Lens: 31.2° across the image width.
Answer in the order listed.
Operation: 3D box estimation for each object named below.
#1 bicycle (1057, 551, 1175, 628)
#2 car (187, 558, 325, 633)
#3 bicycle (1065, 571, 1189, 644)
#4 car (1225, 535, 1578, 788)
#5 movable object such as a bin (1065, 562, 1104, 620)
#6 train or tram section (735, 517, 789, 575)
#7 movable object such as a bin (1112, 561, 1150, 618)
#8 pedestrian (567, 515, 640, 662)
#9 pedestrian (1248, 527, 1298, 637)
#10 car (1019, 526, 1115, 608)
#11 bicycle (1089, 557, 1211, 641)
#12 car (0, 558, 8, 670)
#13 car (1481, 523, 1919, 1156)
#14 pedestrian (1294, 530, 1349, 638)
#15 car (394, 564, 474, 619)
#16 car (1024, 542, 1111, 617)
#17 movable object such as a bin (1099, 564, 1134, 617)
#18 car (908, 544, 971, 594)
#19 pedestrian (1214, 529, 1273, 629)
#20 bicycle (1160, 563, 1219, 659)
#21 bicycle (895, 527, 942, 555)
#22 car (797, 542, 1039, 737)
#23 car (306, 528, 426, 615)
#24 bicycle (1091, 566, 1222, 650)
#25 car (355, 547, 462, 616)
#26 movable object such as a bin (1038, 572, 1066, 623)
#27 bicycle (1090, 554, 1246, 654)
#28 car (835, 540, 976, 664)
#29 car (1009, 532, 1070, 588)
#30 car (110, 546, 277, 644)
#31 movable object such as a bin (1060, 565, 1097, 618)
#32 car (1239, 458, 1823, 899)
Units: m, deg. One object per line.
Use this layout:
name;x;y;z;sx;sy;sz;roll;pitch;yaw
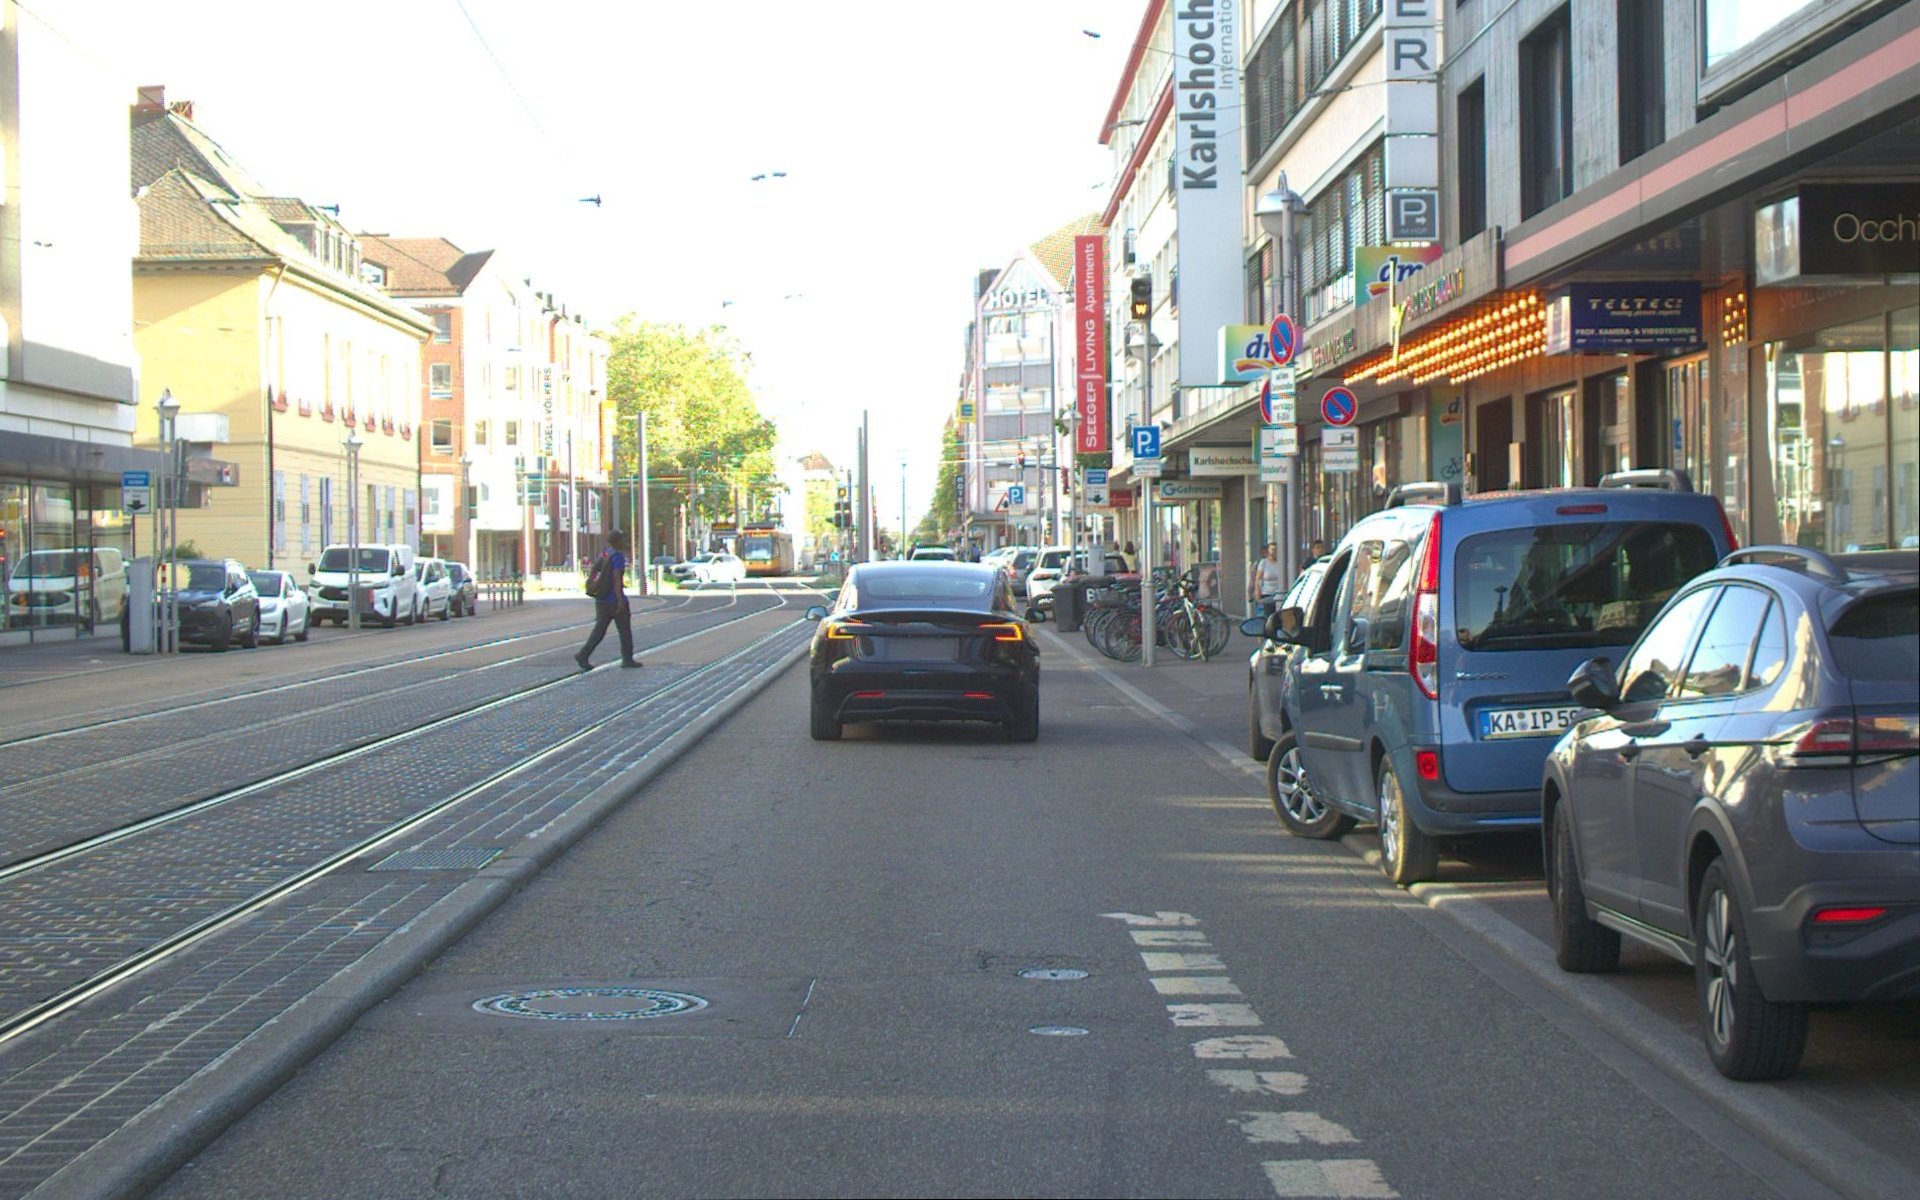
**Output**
bicycle;2.467;-0.173;54.504;1.787;1.155;0.669;-2;1;-1
car;-13.966;-0.117;68.424;1.888;1.416;4.657;1;1;-2
bicycle;2.476;0.105;51.125;1.773;1.028;0.597;-2;1;-1
car;2.885;0.352;23.355;1.721;1.479;4.416;-3;1;-1
movable object such as a bin;2.404;-0.175;66.339;0.690;1.085;0.685;-2;1;3
train or tram section;-13.014;-3.529;226.608;2.674;3.703;14.193;1;1;0
movable object such as a bin;3.305;-0.203;66.299;0.690;1.085;0.666;-2;1;3
pedestrian;-4.552;-0.148;43.926;0.804;1.831;0.746;-2;1;-2
pedestrian;4.609;-0.263;50.700;0.581;1.580;0.598;-3;1;-2
car;2.406;-0.755;78.417;1.849;1.718;5.193;-3;1;-1
bicycle;2.893;-0.017;52.495;1.787;1.213;0.587;-2;1;-1
car;-13.695;0.189;45.033;1.600;1.518;3.590;1;1;-3
car;2.932;0.552;10.810;1.763;1.572;4.288;-3;1;-1
pedestrian;5.117;-0.228;48.702;0.581;1.488;0.525;-3;1;-9
car;-14.187;-0.245;92.907;1.614;1.396;3.720;1;1;-1
car;2.270;-0.453;73.419;1.614;1.523;4.070;-2;1;-1
movable object such as a bin;3.044;-0.195;66.978;0.658;1.010;0.636;-1;1;2
car;-0.671;-1.001;109.935;1.783;1.514;4.219;1;1;-3
pedestrian;4.305;-0.321;52.143;0.581;1.481;0.597;-3;1;-31
bicycle;3.115;0.133;46.734;0.581;1.253;1.602;-3;1;-2
bicycle;-1.634;-2.318;134.940;1.727;1.084;0.678;1;0;-8
car;-0.372;0.282;28.299;1.849;1.479;3.787;1;1;-2
car;-14.040;-0.681;81.500;1.993;1.968;5.097;1;1;-1
bicycle;2.782;0.107;48.812;1.773;1.127;0.479;-2;1;-6
car;-14.091;-0.487;88.064;1.808;1.680;4.648;1;1;2
movable object such as a bin;1.776;-0.051;66.347;0.487;0.955;0.457;-2;0;3
bicycle;2.908;0.049;48.020;2.035;1.270;0.525;-4;1;-10
car;-0.636;-0.014;42.937;1.653;1.413;4.000;1;2;0
car;2.452;-1.248;106.253;1.745;1.626;3.649;-2;1;0
car;-13.892;-0.116;62.550;1.978;1.673;4.655;1;1;0
movable object such as a bin;2.304;-0.162;67.007;0.686;1.010;0.508;-1;1;2
car;2.658;0.315;17.125;1.815;1.853;4.551;-2;1;-4
